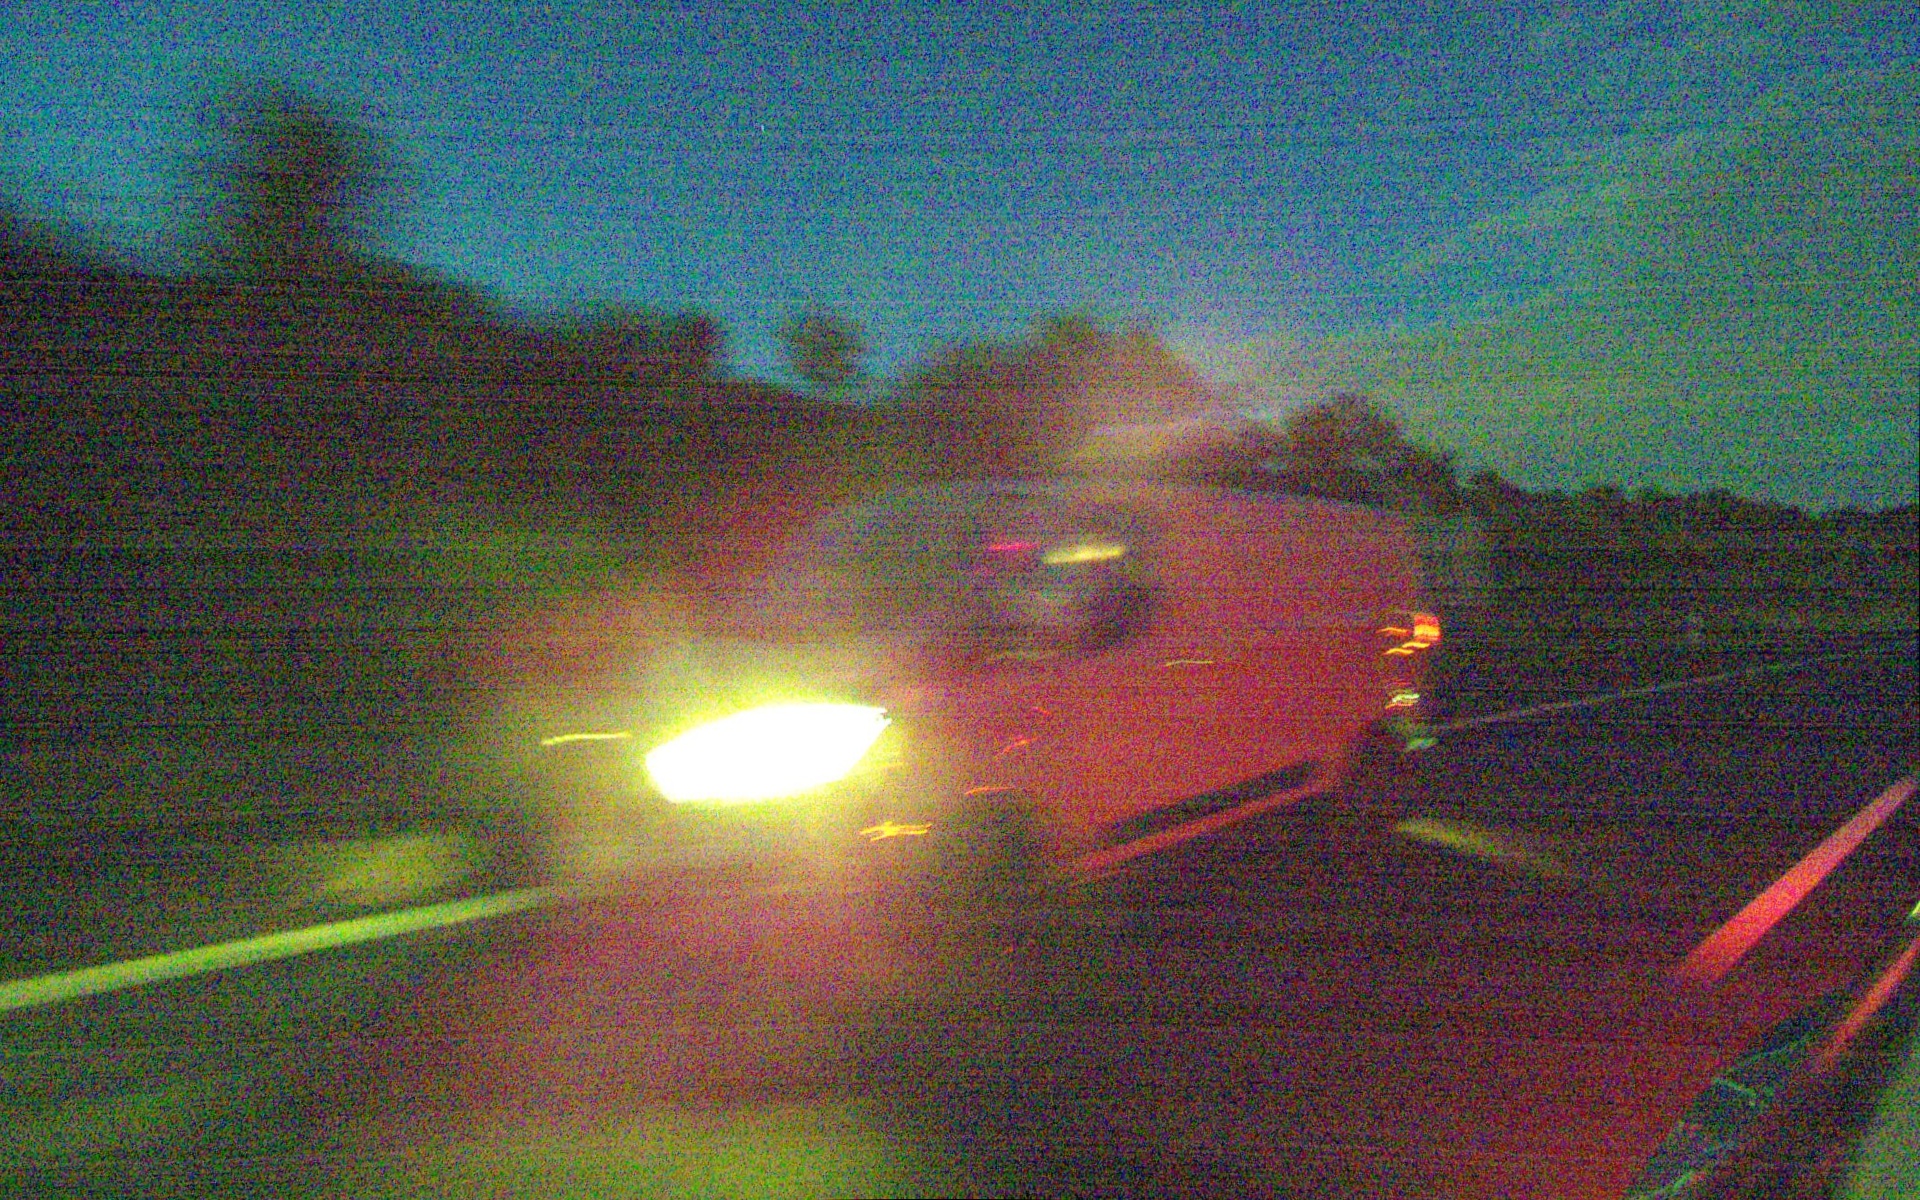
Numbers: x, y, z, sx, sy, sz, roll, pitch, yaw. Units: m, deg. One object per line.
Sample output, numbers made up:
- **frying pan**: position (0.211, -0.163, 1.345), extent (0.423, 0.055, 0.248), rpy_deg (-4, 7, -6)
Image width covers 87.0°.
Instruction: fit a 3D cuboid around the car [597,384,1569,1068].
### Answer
- **car**: position (1.138, 0.332, 5.599), extent (5.563, 2.026, 2.120), rpy_deg (-1, 1, -40)
